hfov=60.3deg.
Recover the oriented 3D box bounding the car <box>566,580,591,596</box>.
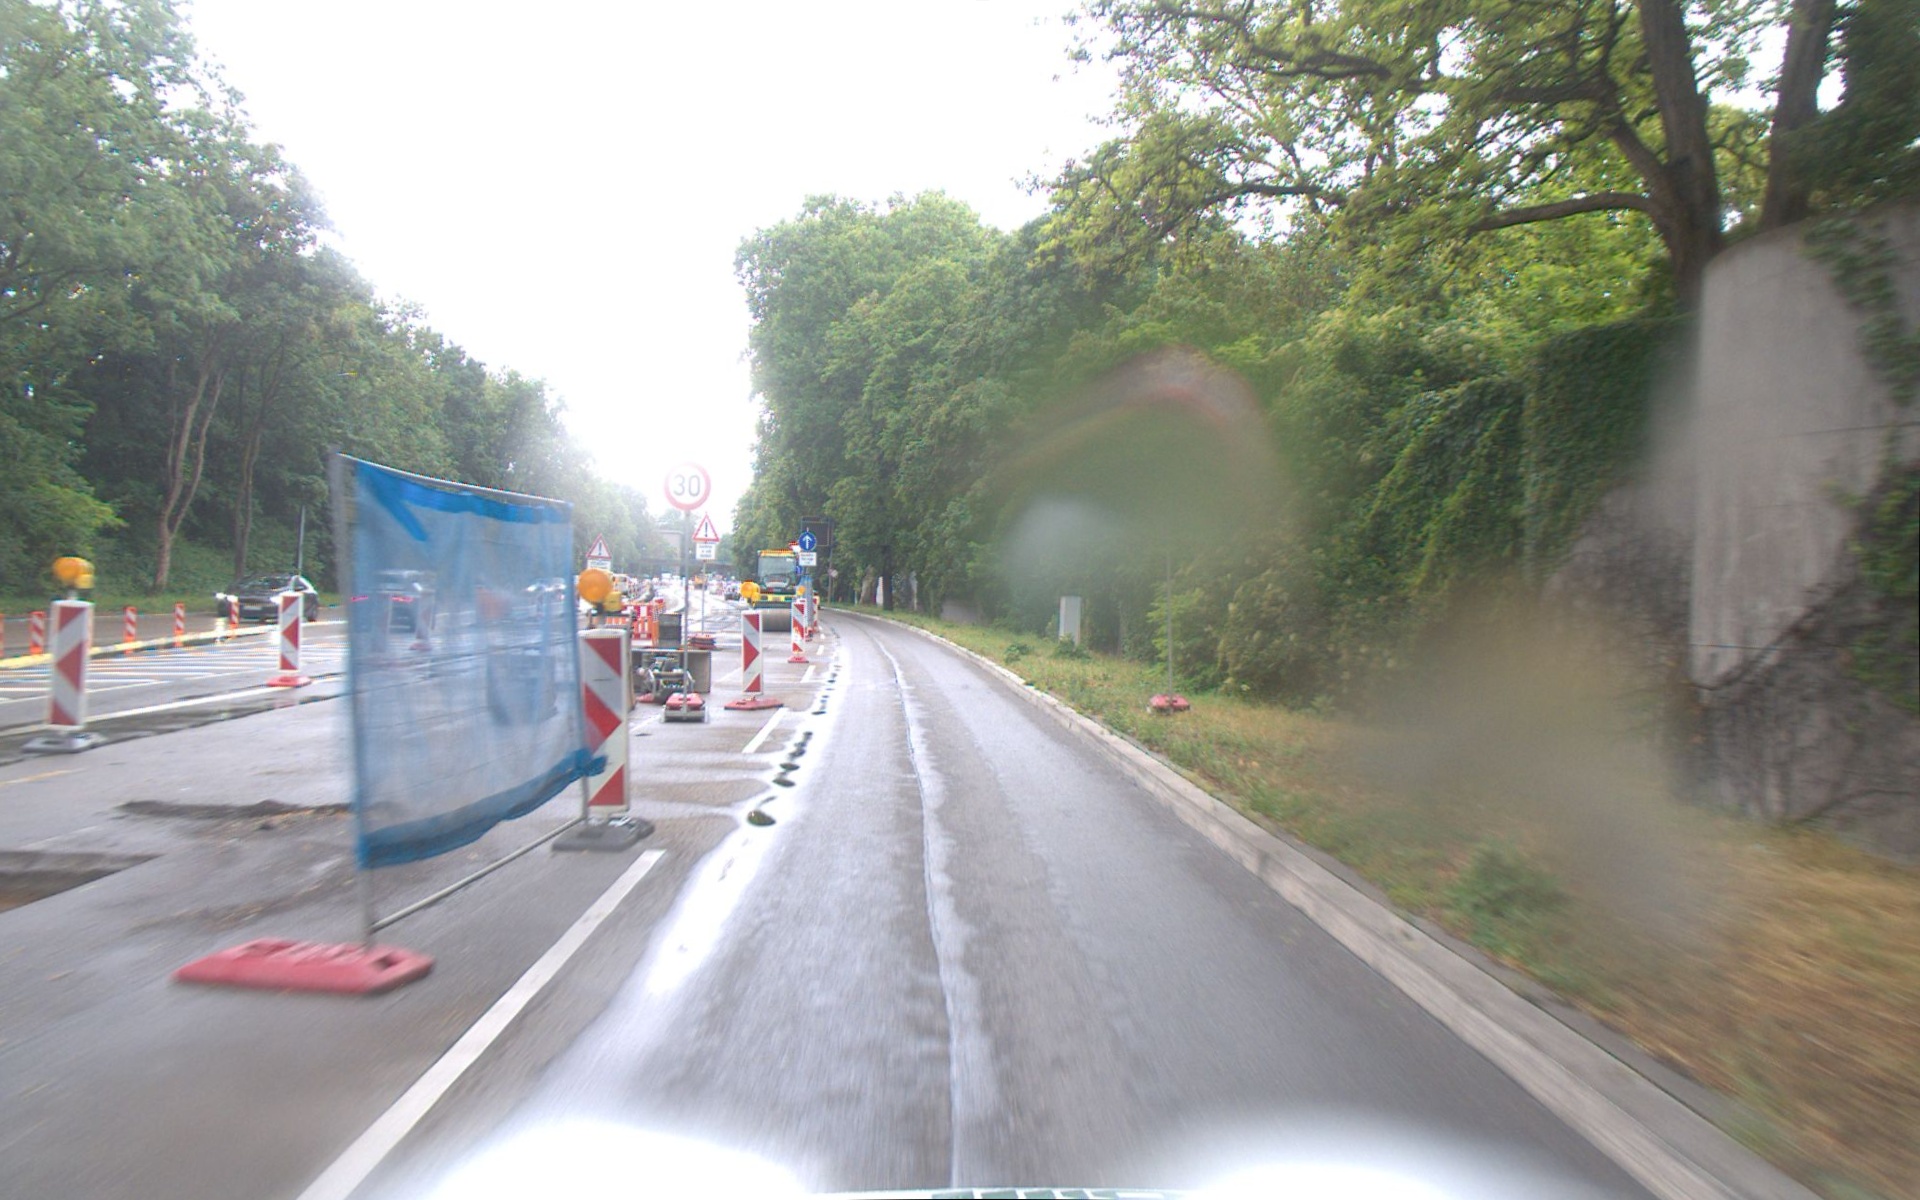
[{"bbox_3d":[-41.197,-1.273,178.675,1.889,1.694,4.650,1,0,-3],"label":"car"}]

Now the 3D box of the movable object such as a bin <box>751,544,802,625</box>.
[{"bbox_3d":[-6.856,-0.567,62.034,1.712,2.917,3.531,1,0,-4],"label":"movable object such as a bin"}]

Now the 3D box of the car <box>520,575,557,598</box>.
[{"bbox_3d":[-32.845,-1.053,129.094,1.889,1.694,4.650,1,0,-3],"label":"car"}]

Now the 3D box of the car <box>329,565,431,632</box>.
[{"bbox_3d":[-15.599,-0.080,44.664,1.828,1.517,3.993,3,3,-9],"label":"car"}]

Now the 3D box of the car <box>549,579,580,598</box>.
[{"bbox_3d":[-36.158,-1.058,151.425,1.889,1.694,4.650,1,0,-3],"label":"car"}]

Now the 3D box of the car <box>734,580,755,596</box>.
[{"bbox_3d":[-23.342,-1.309,179.369,1.838,1.646,3.998,3,1,-3],"label":"car"}]

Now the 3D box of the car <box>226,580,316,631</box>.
[{"bbox_3d":[-20.331,0.143,48.940,1.400,1.431,3.820,1,0,-6],"label":"car"}]

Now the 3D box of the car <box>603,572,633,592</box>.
[{"bbox_3d":[-30.933,-1.613,149.632,1.889,1.809,4.650,1,0,-3],"label":"car"}]

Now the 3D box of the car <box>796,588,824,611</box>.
[{"bbox_3d":[-11.531,-0.044,127.065,1.876,1.625,4.831,2,1,-3],"label":"car"}]
